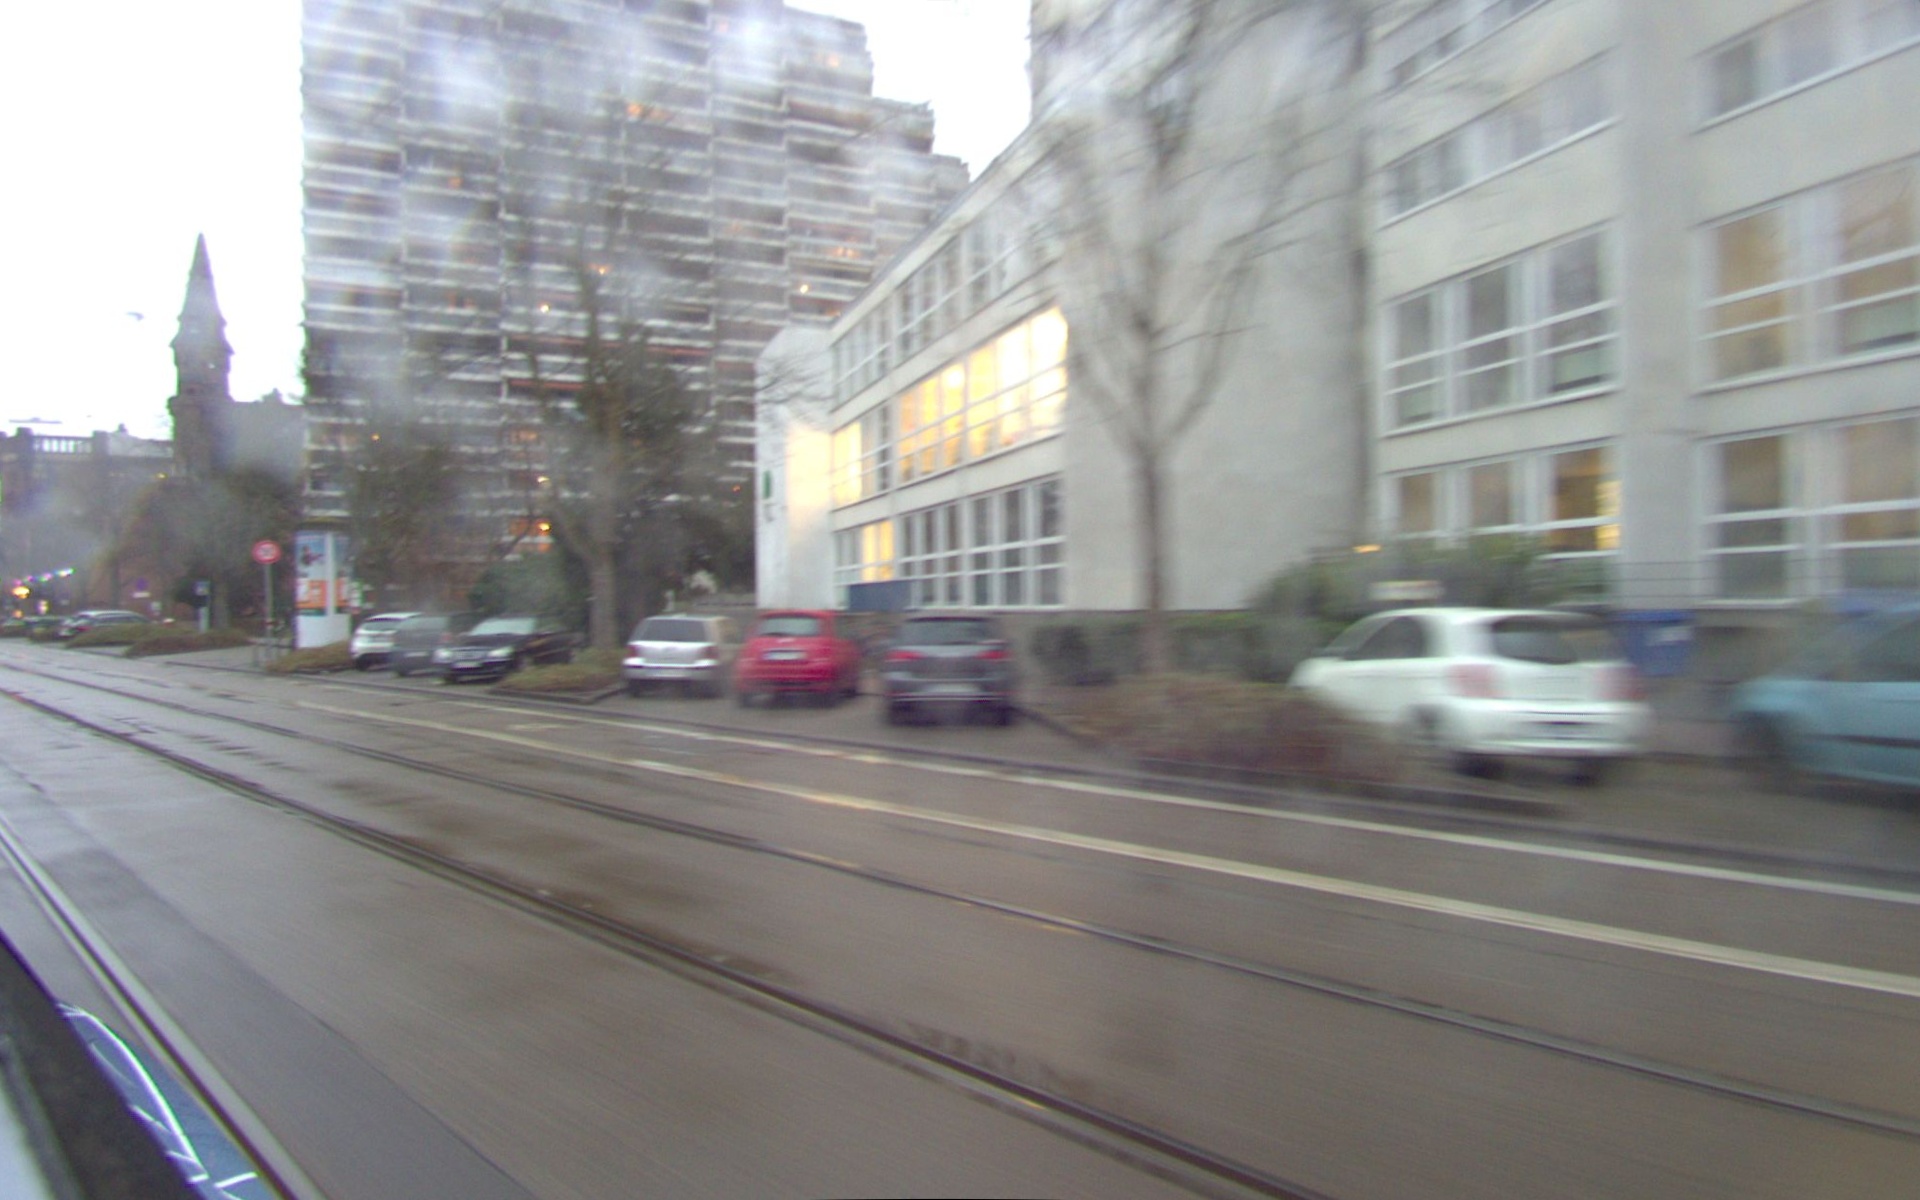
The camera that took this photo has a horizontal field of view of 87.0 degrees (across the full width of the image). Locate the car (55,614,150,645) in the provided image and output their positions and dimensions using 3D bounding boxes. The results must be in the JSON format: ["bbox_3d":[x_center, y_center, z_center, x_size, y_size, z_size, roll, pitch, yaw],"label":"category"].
[{"bbox_3d":[-47.822,1.650,56.458,3.939,1.652,2.002,0,-2,-43],"label":"car"}]

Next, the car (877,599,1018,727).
[{"bbox_3d":[-0.250,0.802,14.037,1.671,1.504,3.856,-1,-1,-3],"label":"car"}]

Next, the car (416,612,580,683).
[{"bbox_3d":[-9.924,0.990,22.095,1.829,1.389,4.000,-1,-1,-1],"label":"car"}]

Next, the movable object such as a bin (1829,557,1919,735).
[{"bbox_3d":[10.638,0.492,11.287,1.317,1.874,1.553,-3,-3,42],"label":"movable object such as a bin"}]

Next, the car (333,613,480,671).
[{"bbox_3d":[-14.798,1.096,27.322,1.829,1.410,4.000,-1,-1,-1],"label":"car"}]

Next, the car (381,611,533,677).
[{"bbox_3d":[-12.268,1.041,24.972,1.829,1.474,4.000,-1,-1,-1],"label":"car"}]

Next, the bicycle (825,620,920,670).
[{"bbox_3d":[-2.104,1.071,24.370,2.167,1.129,0.644,0,-2,-26],"label":"bicycle"}]

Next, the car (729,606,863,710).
[{"bbox_3d":[-2.589,0.901,16.702,1.705,1.504,3.451,-1,-1,-1],"label":"car"}]

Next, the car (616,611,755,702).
[{"bbox_3d":[-4.860,0.964,18.431,1.765,1.457,4.004,-1,-1,-5],"label":"car"}]

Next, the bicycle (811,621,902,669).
[{"bbox_3d":[-2.580,1.108,25.265,2.167,1.129,0.644,0,-2,-26],"label":"bicycle"}]

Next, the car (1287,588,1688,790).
[{"bbox_3d":[4.816,0.748,9.960,1.668,1.563,3.880,-1,-1,-4],"label":"car"}]

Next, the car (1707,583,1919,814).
[{"bbox_3d":[7.414,0.657,6.794,1.712,1.575,4.000,-1,-1,-1],"label":"car"}]

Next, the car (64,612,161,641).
[{"bbox_3d":[-45.545,1.416,54.434,3.939,1.497,1.674,0,-2,-43],"label":"car"}]

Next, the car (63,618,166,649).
[{"bbox_3d":[-43.220,1.705,51.770,3.939,1.497,1.674,0,-2,-43],"label":"car"}]
